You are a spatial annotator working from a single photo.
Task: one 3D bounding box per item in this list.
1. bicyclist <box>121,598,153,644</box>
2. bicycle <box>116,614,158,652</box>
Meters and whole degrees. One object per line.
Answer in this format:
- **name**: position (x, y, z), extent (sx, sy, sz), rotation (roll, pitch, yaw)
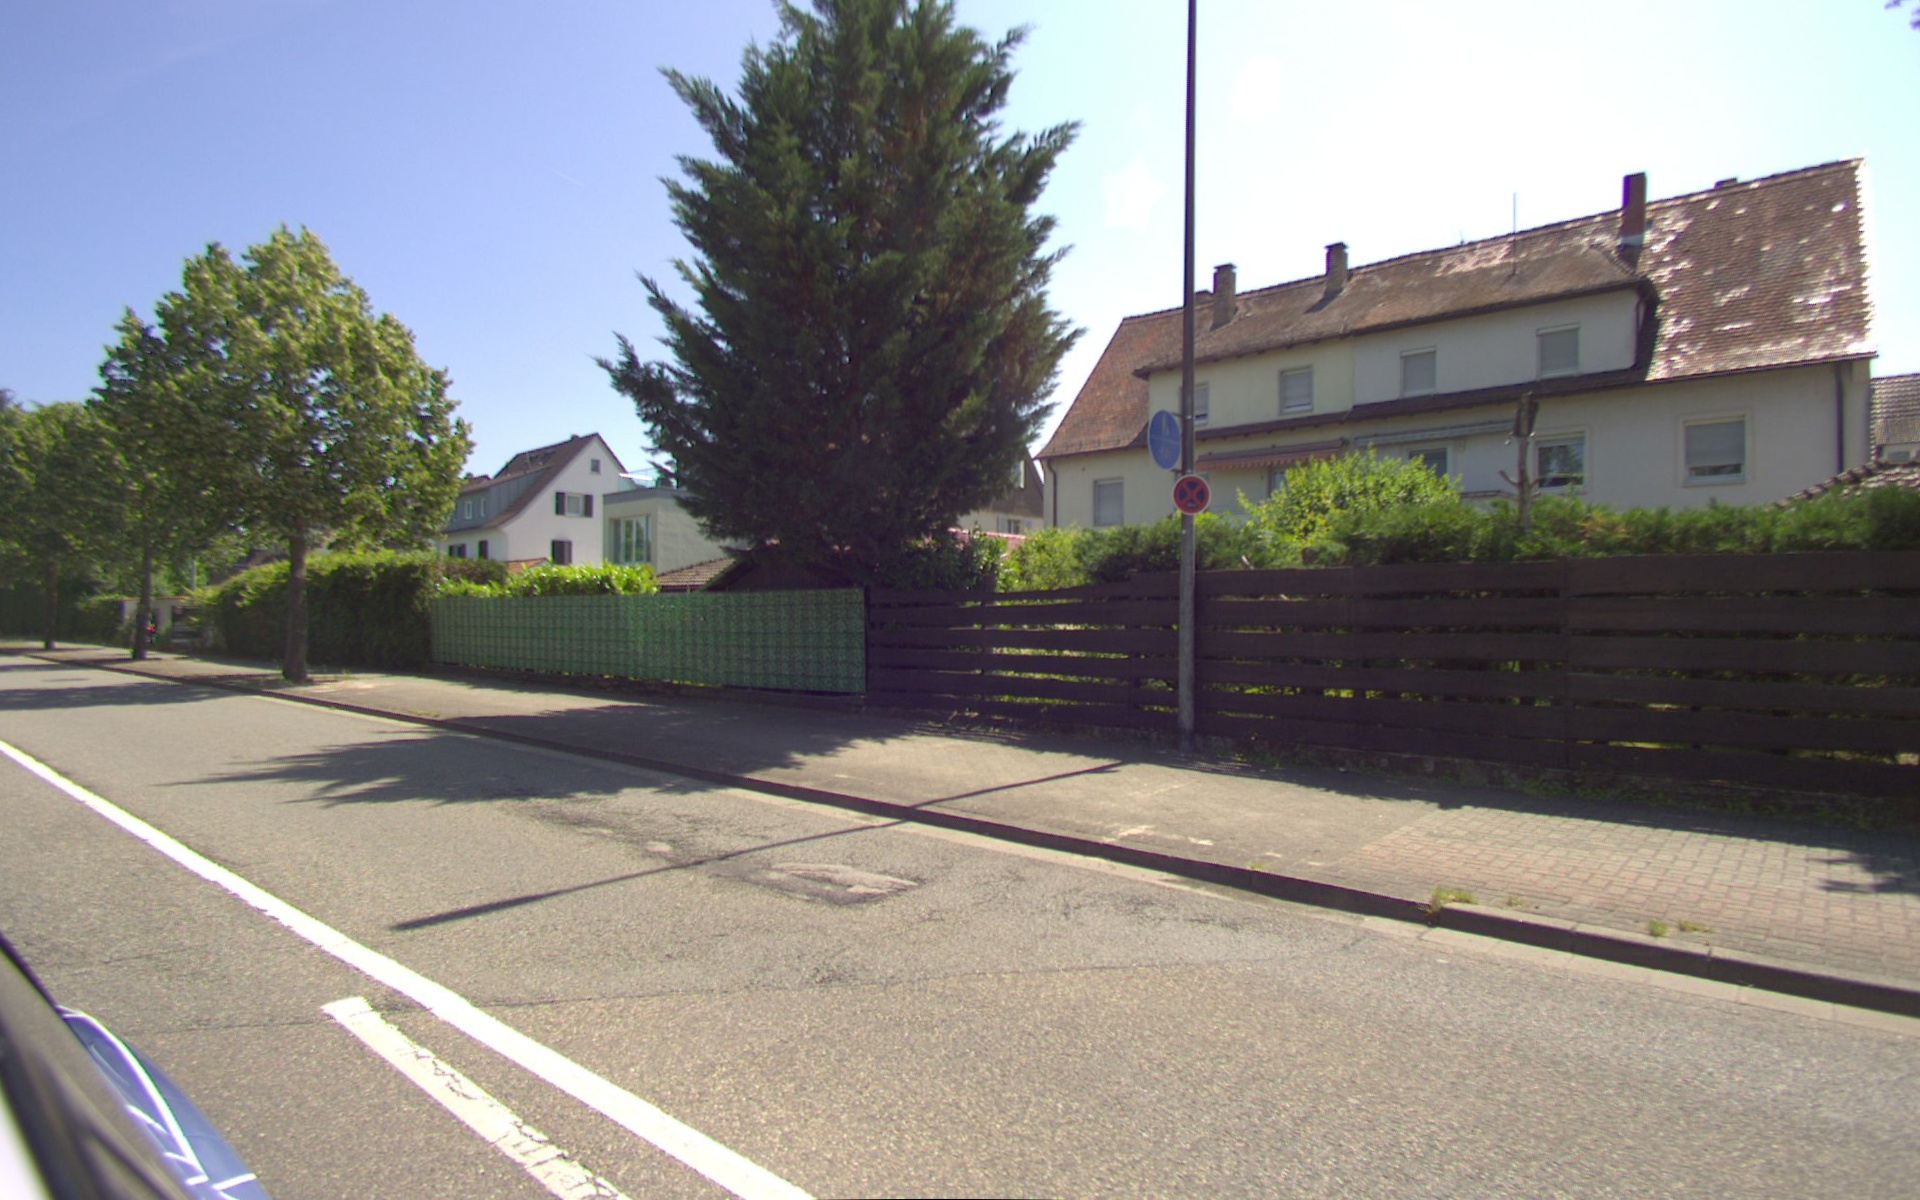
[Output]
- **bicyclist**: position (-26.038, 0.659, 32.009), extent (0.675, 1.419, 0.622), rotation (-1, -2, 38)
- **bicycle**: position (-26.036, 1.030, 31.995), extent (1.813, 1.189, 0.626), rotation (-1, -2, 38)
